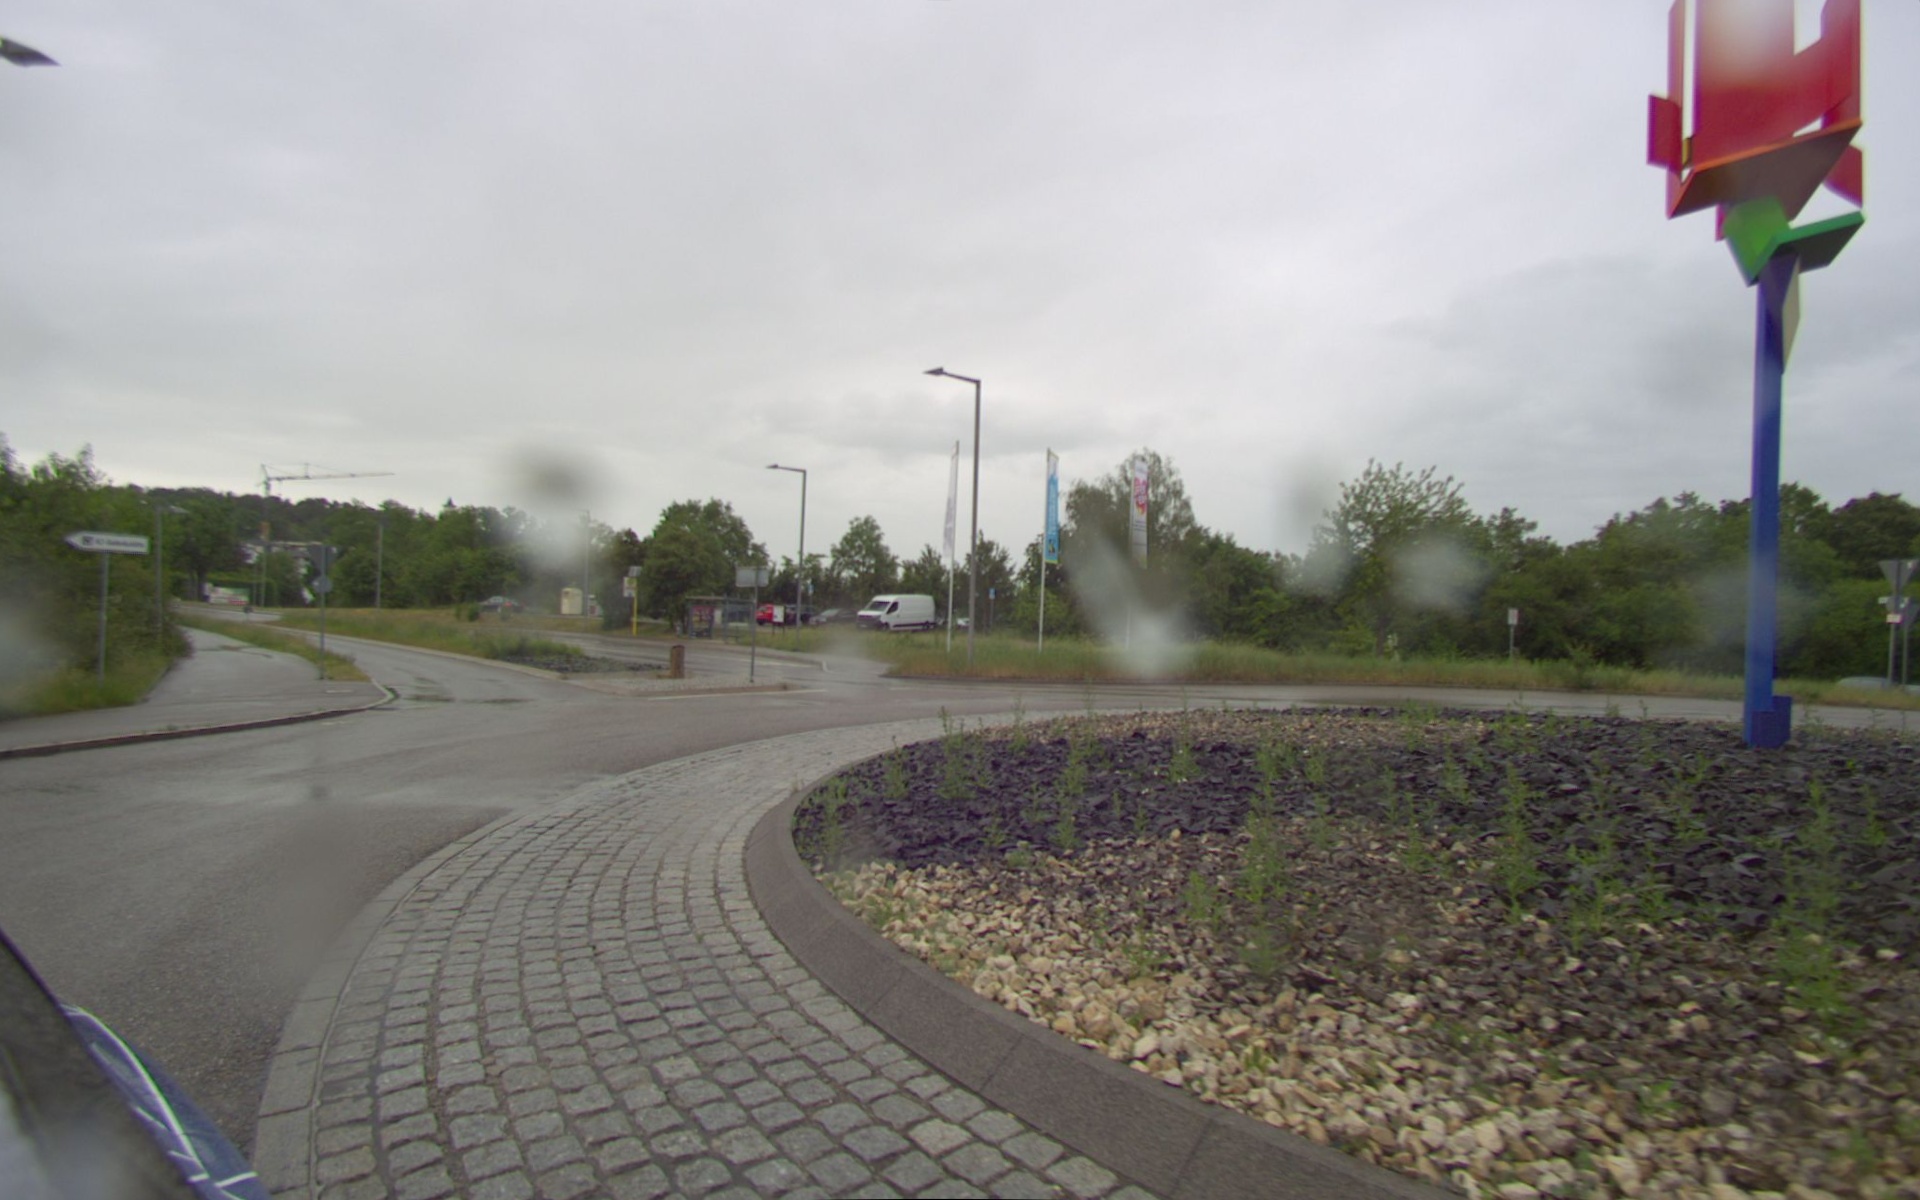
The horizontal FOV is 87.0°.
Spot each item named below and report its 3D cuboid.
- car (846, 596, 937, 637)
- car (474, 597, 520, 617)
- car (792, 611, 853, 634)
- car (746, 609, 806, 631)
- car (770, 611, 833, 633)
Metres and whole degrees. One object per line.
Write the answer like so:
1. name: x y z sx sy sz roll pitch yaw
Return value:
1. car: -4.316 1.051 65.291 2.135 2.415 6.497 2 1 36
2. car: -39.103 0.578 85.443 4.537 1.580 1.674 -1 0 39
3. car: -9.211 1.523 67.990 1.653 1.374 3.945 5 1 41
4. car: -13.045 1.424 71.952 1.847 1.480 3.946 1 -2 40
5. car: -10.858 1.534 69.380 1.847 1.374 3.944 1 -2 42
